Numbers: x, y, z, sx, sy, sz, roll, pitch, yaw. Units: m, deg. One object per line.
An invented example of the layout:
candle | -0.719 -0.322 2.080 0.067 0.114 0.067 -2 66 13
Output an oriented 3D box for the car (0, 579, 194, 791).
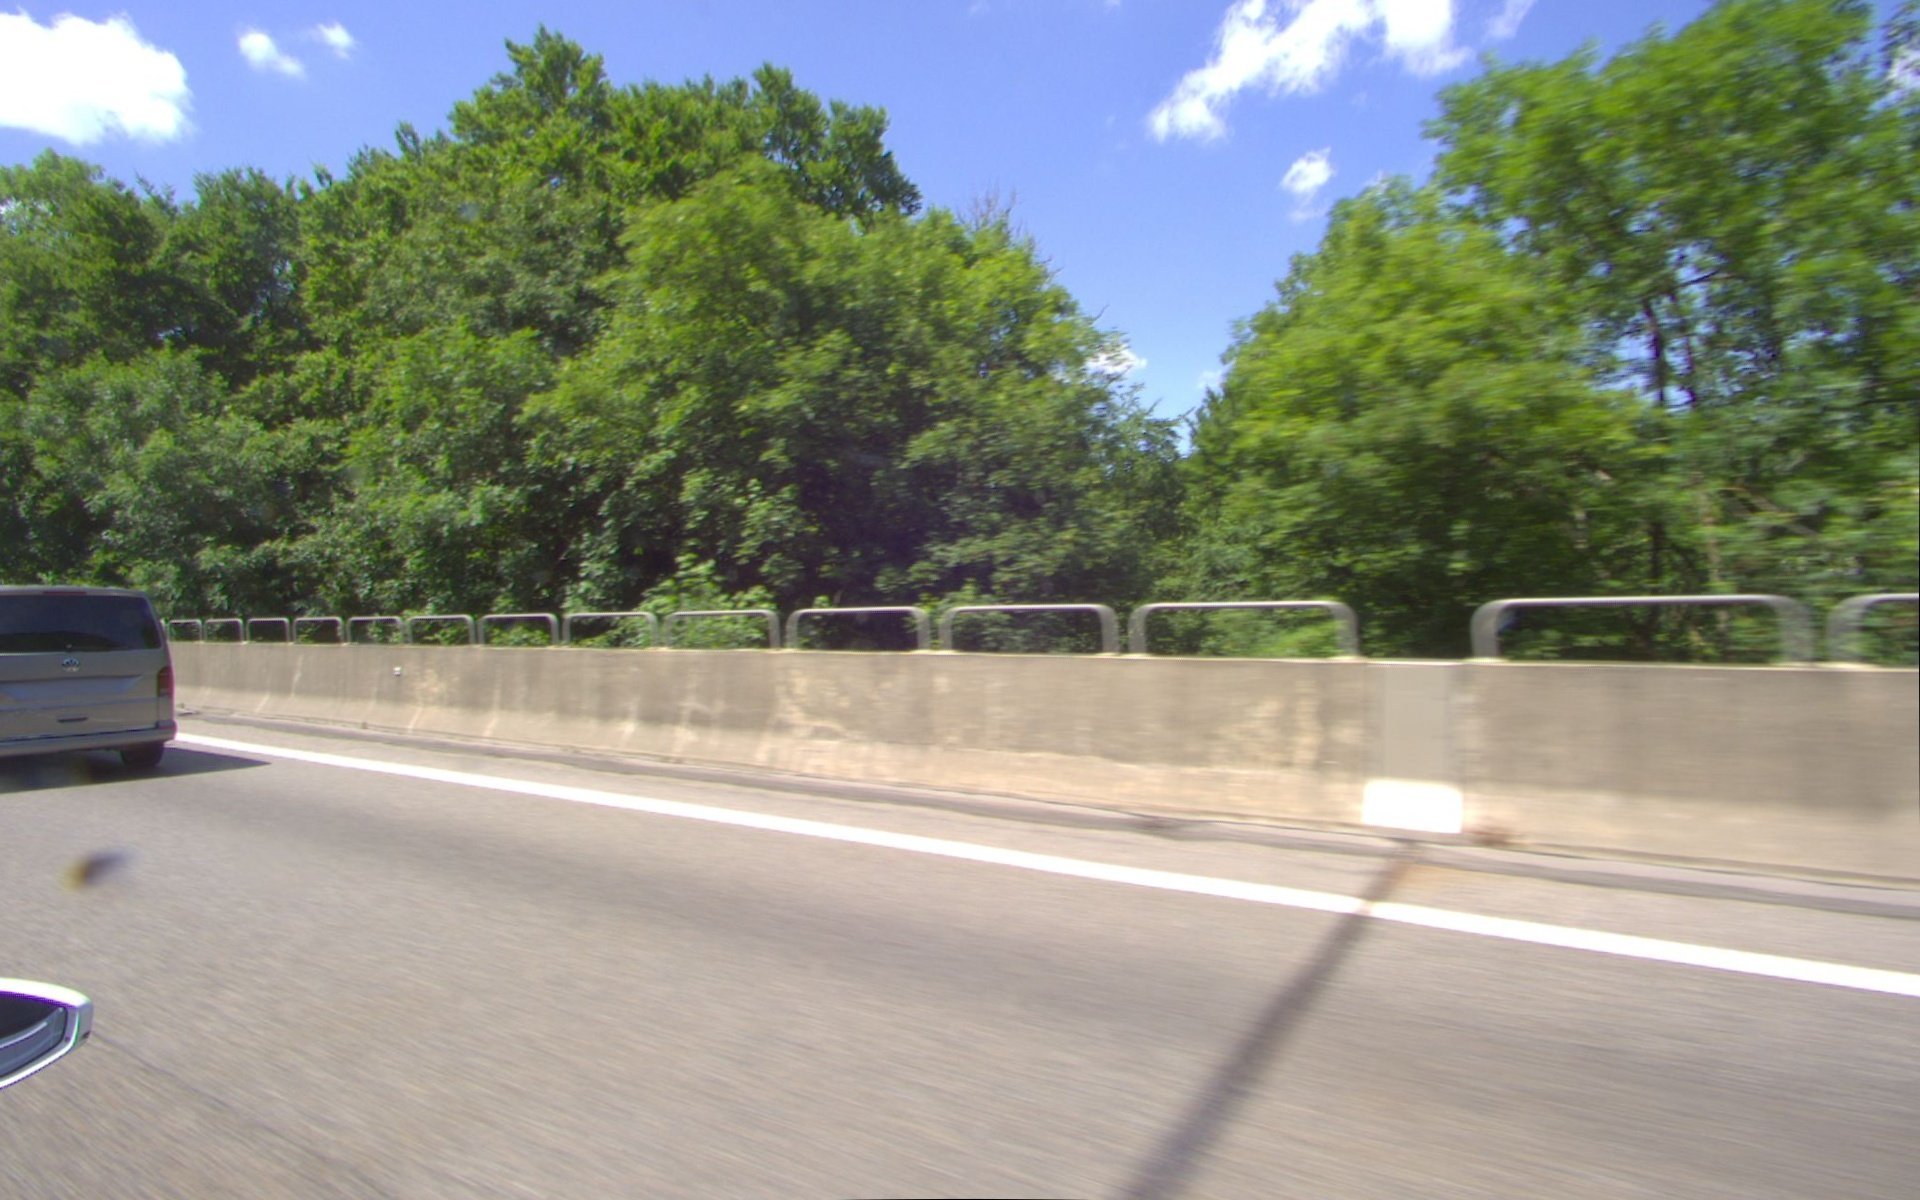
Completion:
car | -10.518 0.841 11.013 4.630 1.956 1.936 -1 -1 34
